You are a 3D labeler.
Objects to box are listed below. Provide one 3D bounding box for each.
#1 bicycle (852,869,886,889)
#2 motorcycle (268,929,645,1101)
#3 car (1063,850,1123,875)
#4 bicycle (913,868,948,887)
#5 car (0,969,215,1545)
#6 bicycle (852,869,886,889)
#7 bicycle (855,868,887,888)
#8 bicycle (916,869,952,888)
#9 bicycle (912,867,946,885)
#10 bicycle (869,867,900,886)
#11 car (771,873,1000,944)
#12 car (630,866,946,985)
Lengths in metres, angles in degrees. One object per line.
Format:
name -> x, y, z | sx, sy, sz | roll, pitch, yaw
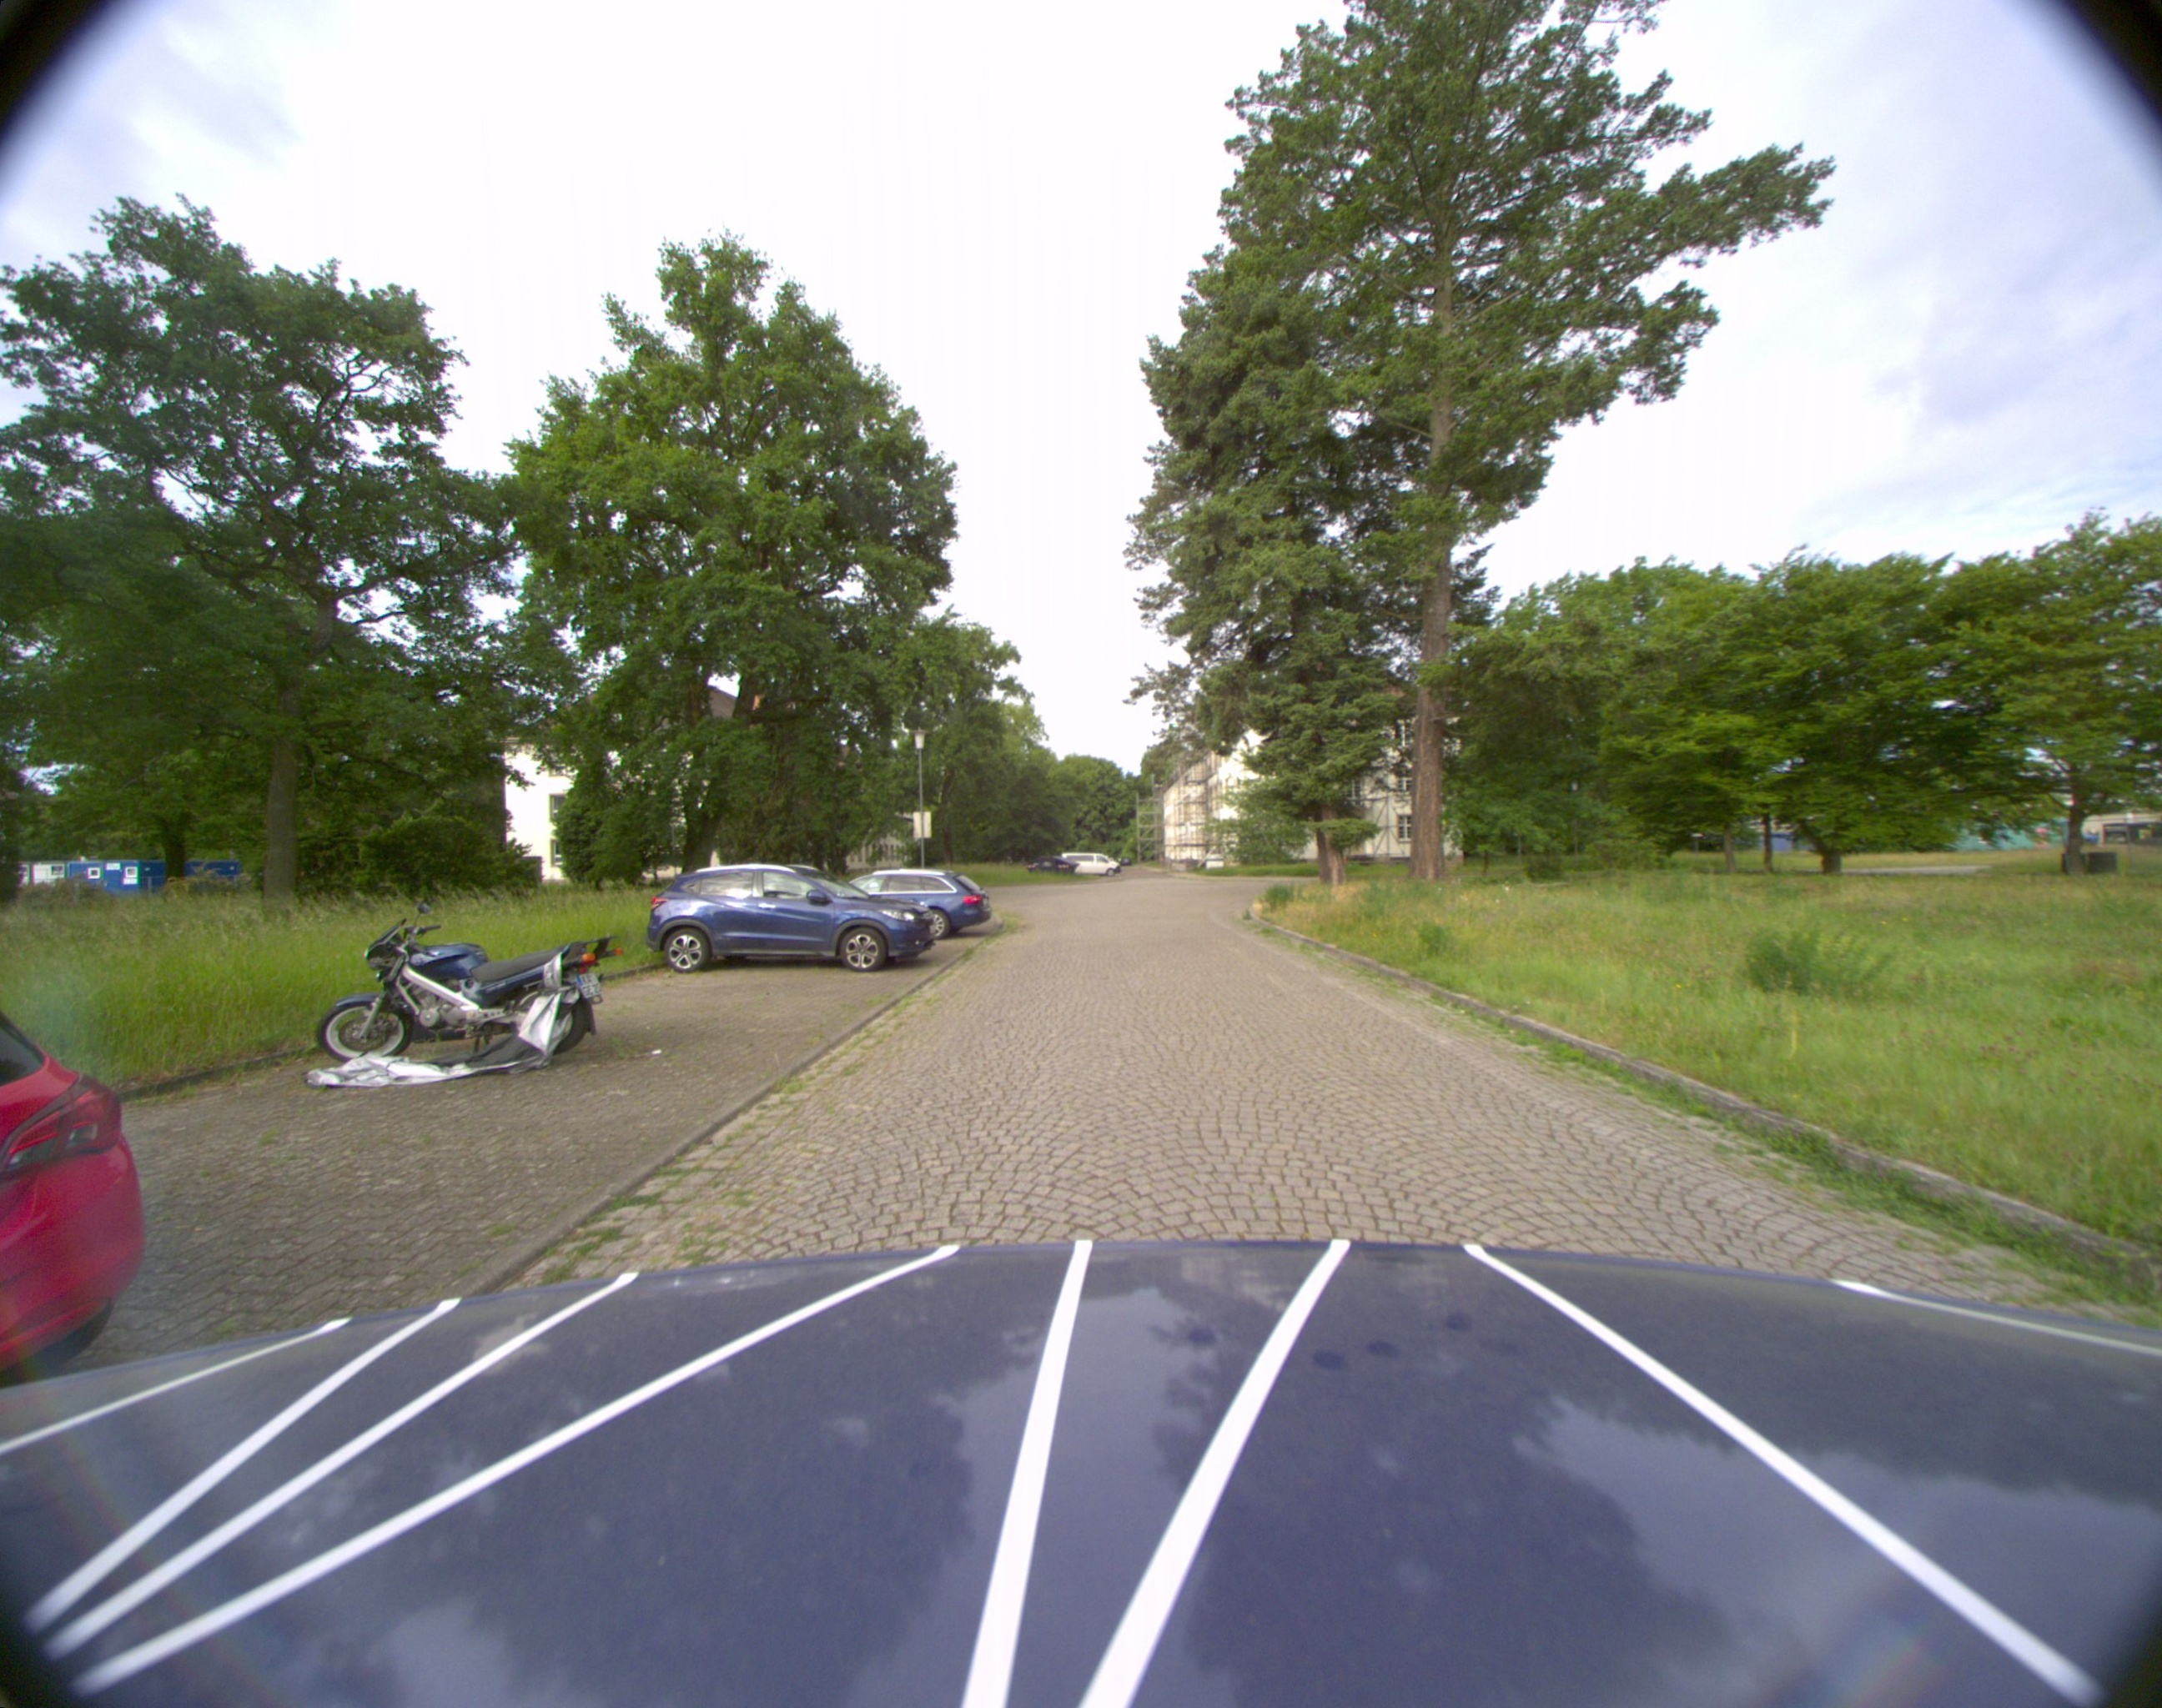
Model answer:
bicycle -> -12.863, 1.503, 46.105 | 1.859, 1.116, 0.621 | -2, 1, -22
motorcycle -> -4.943, 1.256, 6.140 | 2.333, 1.179, 0.795 | -1, 1, -1
car -> 1.023, 0.713, 65.312 | 5.100, 2.007, 2.054 | -1, 1, 0
bicycle -> -9.255, 1.426, 46.785 | 1.976, 1.070, 0.587 | -2, 1, -26
car -> -4.788, 1.117, 1.623 | 3.835, 1.452, 1.779 | 0, 1, 1
bicycle -> -12.673, 1.497, 45.492 | 1.859, 1.116, 0.621 | -2, 1, -22
bicycle -> -13.190, 1.510, 47.771 | 1.859, 1.116, 0.621 | -2, 1, -22
bicycle -> -8.768, 1.447, 45.196 | 1.976, 1.070, 0.587 | -2, 1, -26
bicycle -> -9.793, 1.392, 48.900 | 2.032, 1.070, 0.621 | -2, 1, -22
bicycle -> -12.944, 1.480, 49.987 | 1.859, 1.116, 0.621 | -2, 1, -22
car -> -4.147, 1.147, 16.545 | 4.479, 1.413, 1.785 | 0, 0, 4
car -> -4.391, 1.052, 11.848 | 4.172, 1.562, 1.793 | -1, 1, 1
